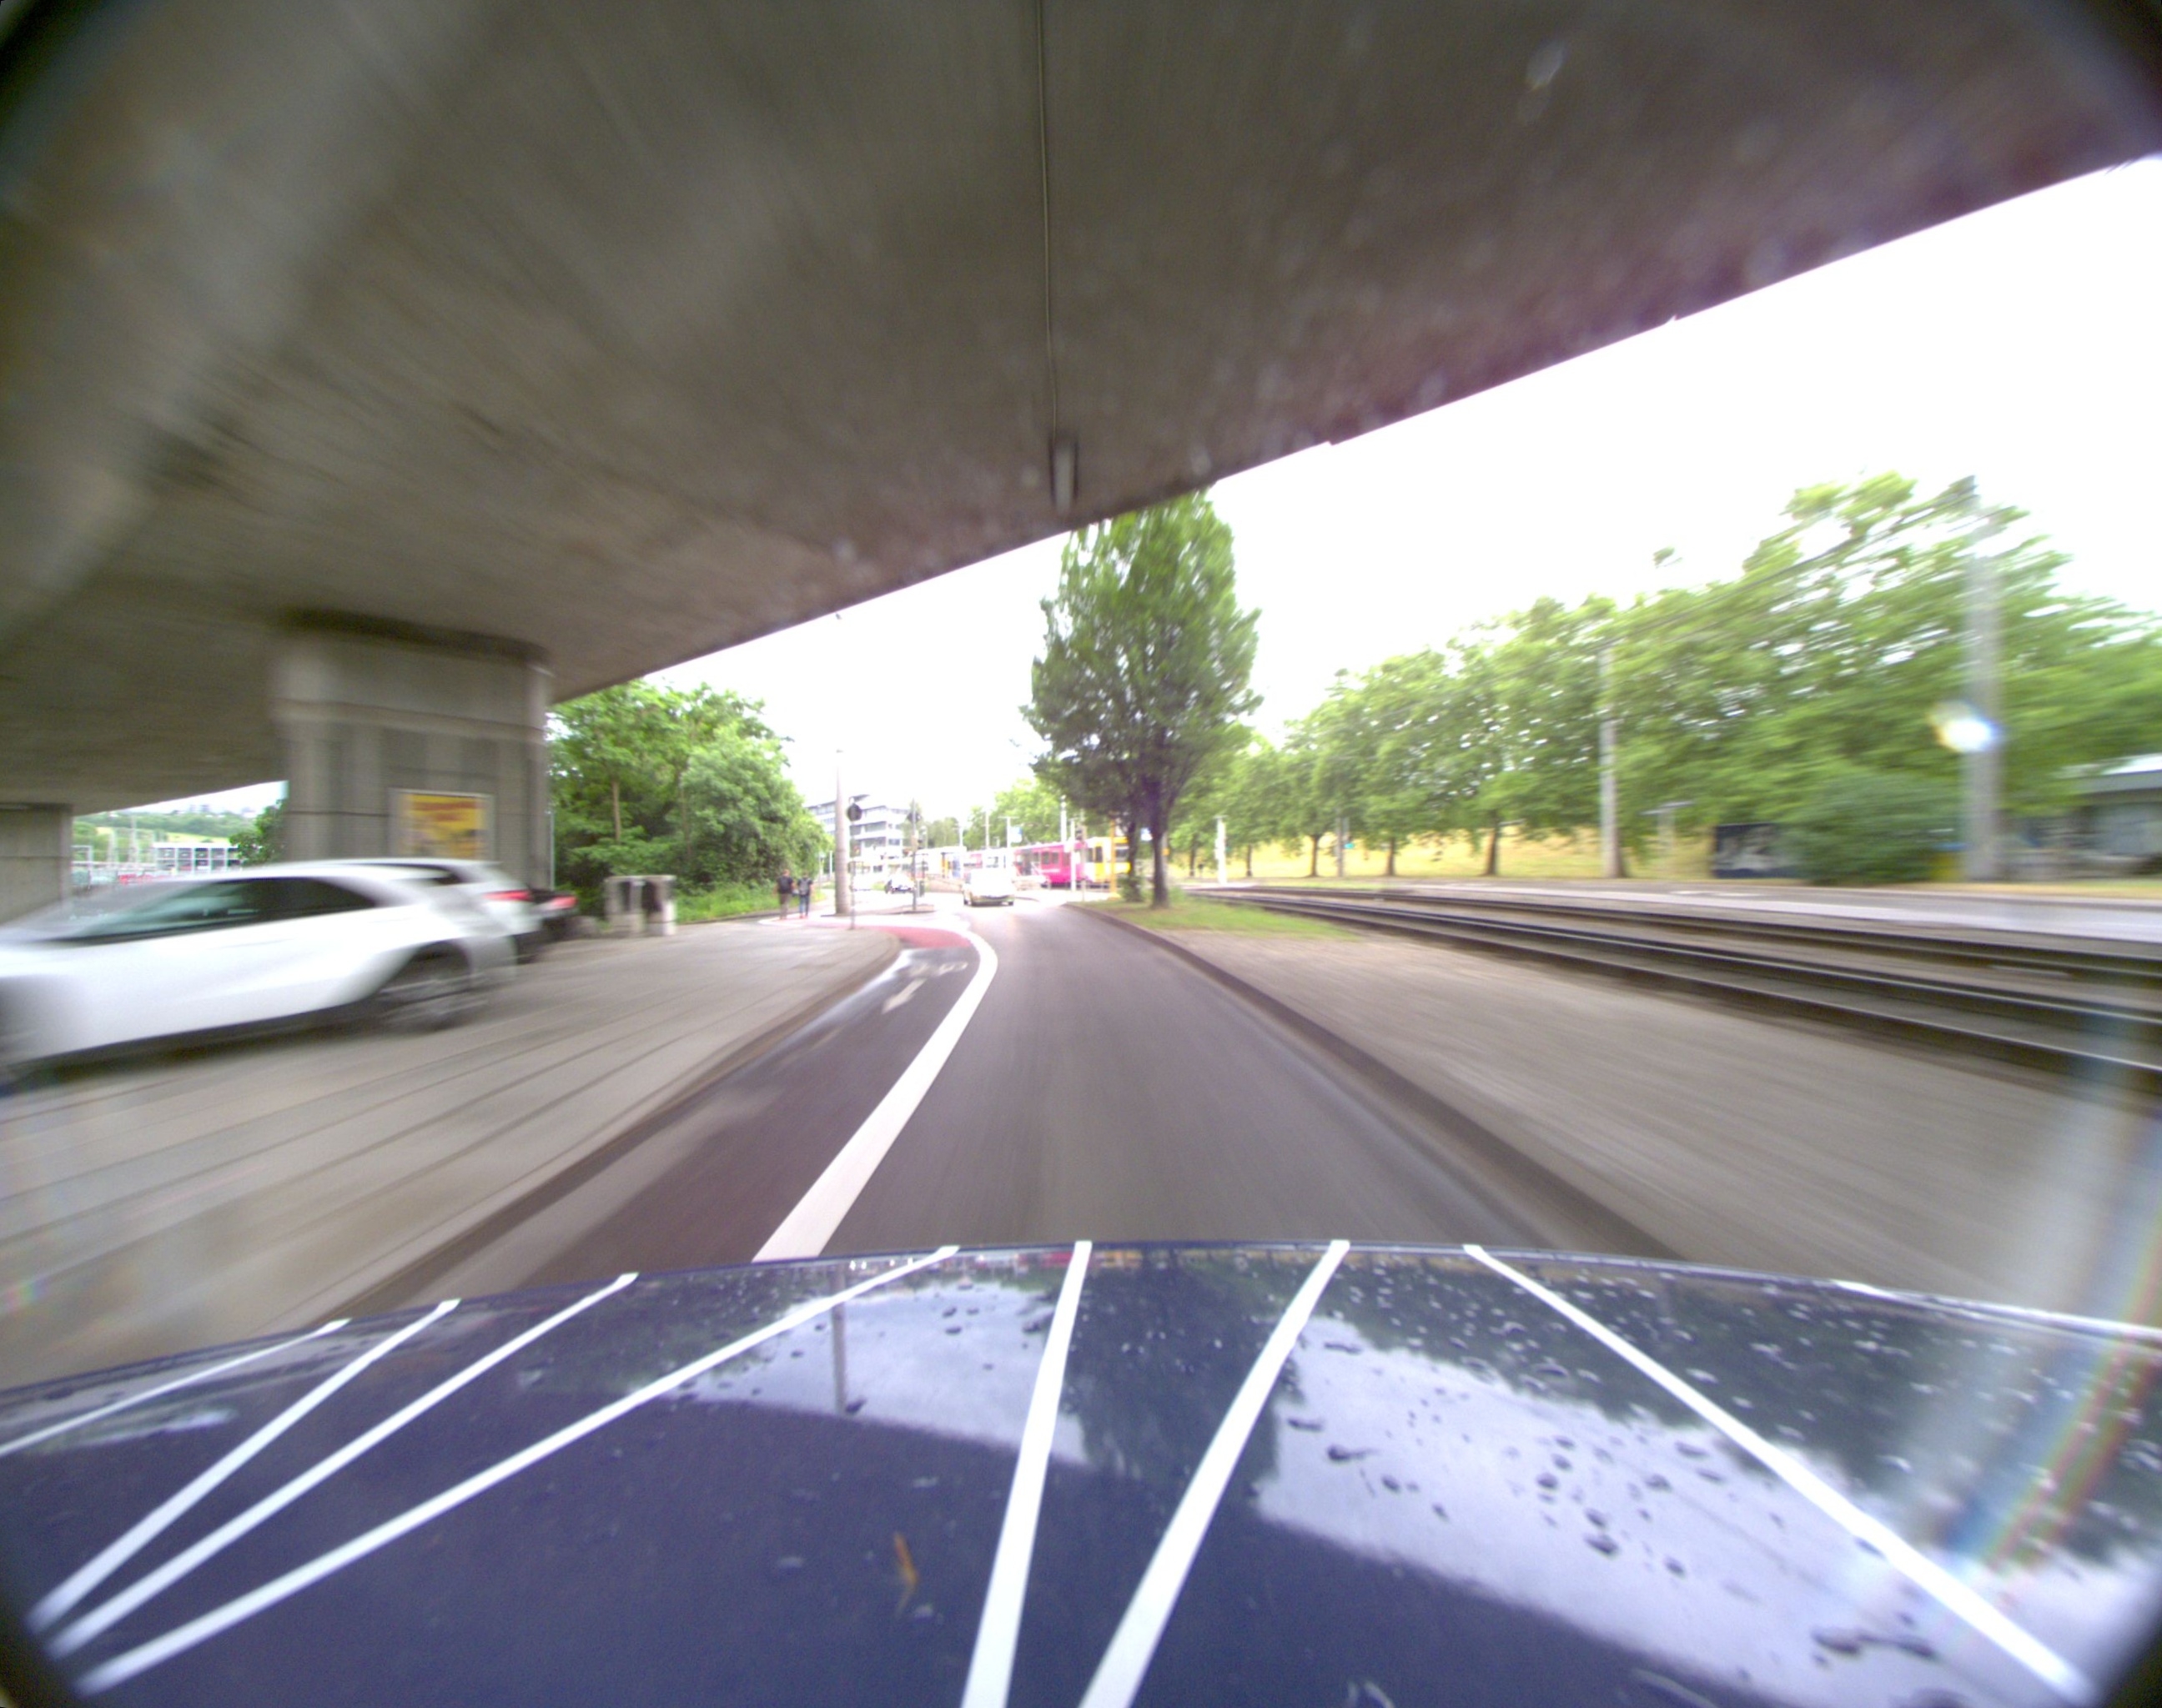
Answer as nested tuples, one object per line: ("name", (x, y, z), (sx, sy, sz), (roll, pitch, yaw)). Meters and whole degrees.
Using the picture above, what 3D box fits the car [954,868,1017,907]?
("car", (-4.044, 1.331, 31.624), (1.783, 1.492, 3.993), (0, -1, -20))

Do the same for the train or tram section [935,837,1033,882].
("train or tram section", (-10.437, 0.645, 78.006), (2.881, 3.948, 19.287), (-4, 1, -29))

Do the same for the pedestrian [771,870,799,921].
("pedestrian", (-11.017, 1.521, 28.313), (0.599, 1.812, 0.909), (-3, 1, -4))

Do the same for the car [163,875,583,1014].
("car", (-9.780, 1.114, 10.844), (1.782, 1.431, 4.058), (-2, 0, 34))

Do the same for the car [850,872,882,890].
("car", (-21.882, 2.716, 77.205), (2.003, 1.563, 3.990), (-4, 1, -32))

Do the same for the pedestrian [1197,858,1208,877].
("pedestrian", (11.720, 1.339, 73.338), (0.731, 1.810, 0.763), (-2, 0, -13))

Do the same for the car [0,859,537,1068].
("car", (-8.608, 0.930, 8.159), (1.962, 1.621, 4.032), (-2, 0, 34))

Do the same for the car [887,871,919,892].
("car", (-14.566, 2.207, 62.003), (1.783, 1.493, 3.993), (-3, 0, -23))

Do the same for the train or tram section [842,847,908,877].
("train or tram section", (-30.067, 1.254, 109.722), (2.882, 3.950, 19.283), (-4, 1, -34))

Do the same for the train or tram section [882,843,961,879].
("train or tram section", (-20.203, 0.940, 94.421), (2.881, 3.931, 19.285), (-4, 1, -32))

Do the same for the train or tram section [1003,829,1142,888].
("train or tram section", (-1.425, 0.399, 60.872), (2.881, 3.938, 19.290), (-4, 1, -26))

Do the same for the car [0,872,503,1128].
("car", (-7.097, 0.970, 5.890), (1.798, 1.513, 3.743), (-2, 0, 34))

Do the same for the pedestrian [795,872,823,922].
("pedestrian", (-10.244, 1.611, 28.634), (0.627, 1.798, 0.836), (-3, 1, 2))

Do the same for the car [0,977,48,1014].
("car", (-60.899, 8.026, 43.192), (4.279, 1.599, 2.004), (-2, 0, 29))
